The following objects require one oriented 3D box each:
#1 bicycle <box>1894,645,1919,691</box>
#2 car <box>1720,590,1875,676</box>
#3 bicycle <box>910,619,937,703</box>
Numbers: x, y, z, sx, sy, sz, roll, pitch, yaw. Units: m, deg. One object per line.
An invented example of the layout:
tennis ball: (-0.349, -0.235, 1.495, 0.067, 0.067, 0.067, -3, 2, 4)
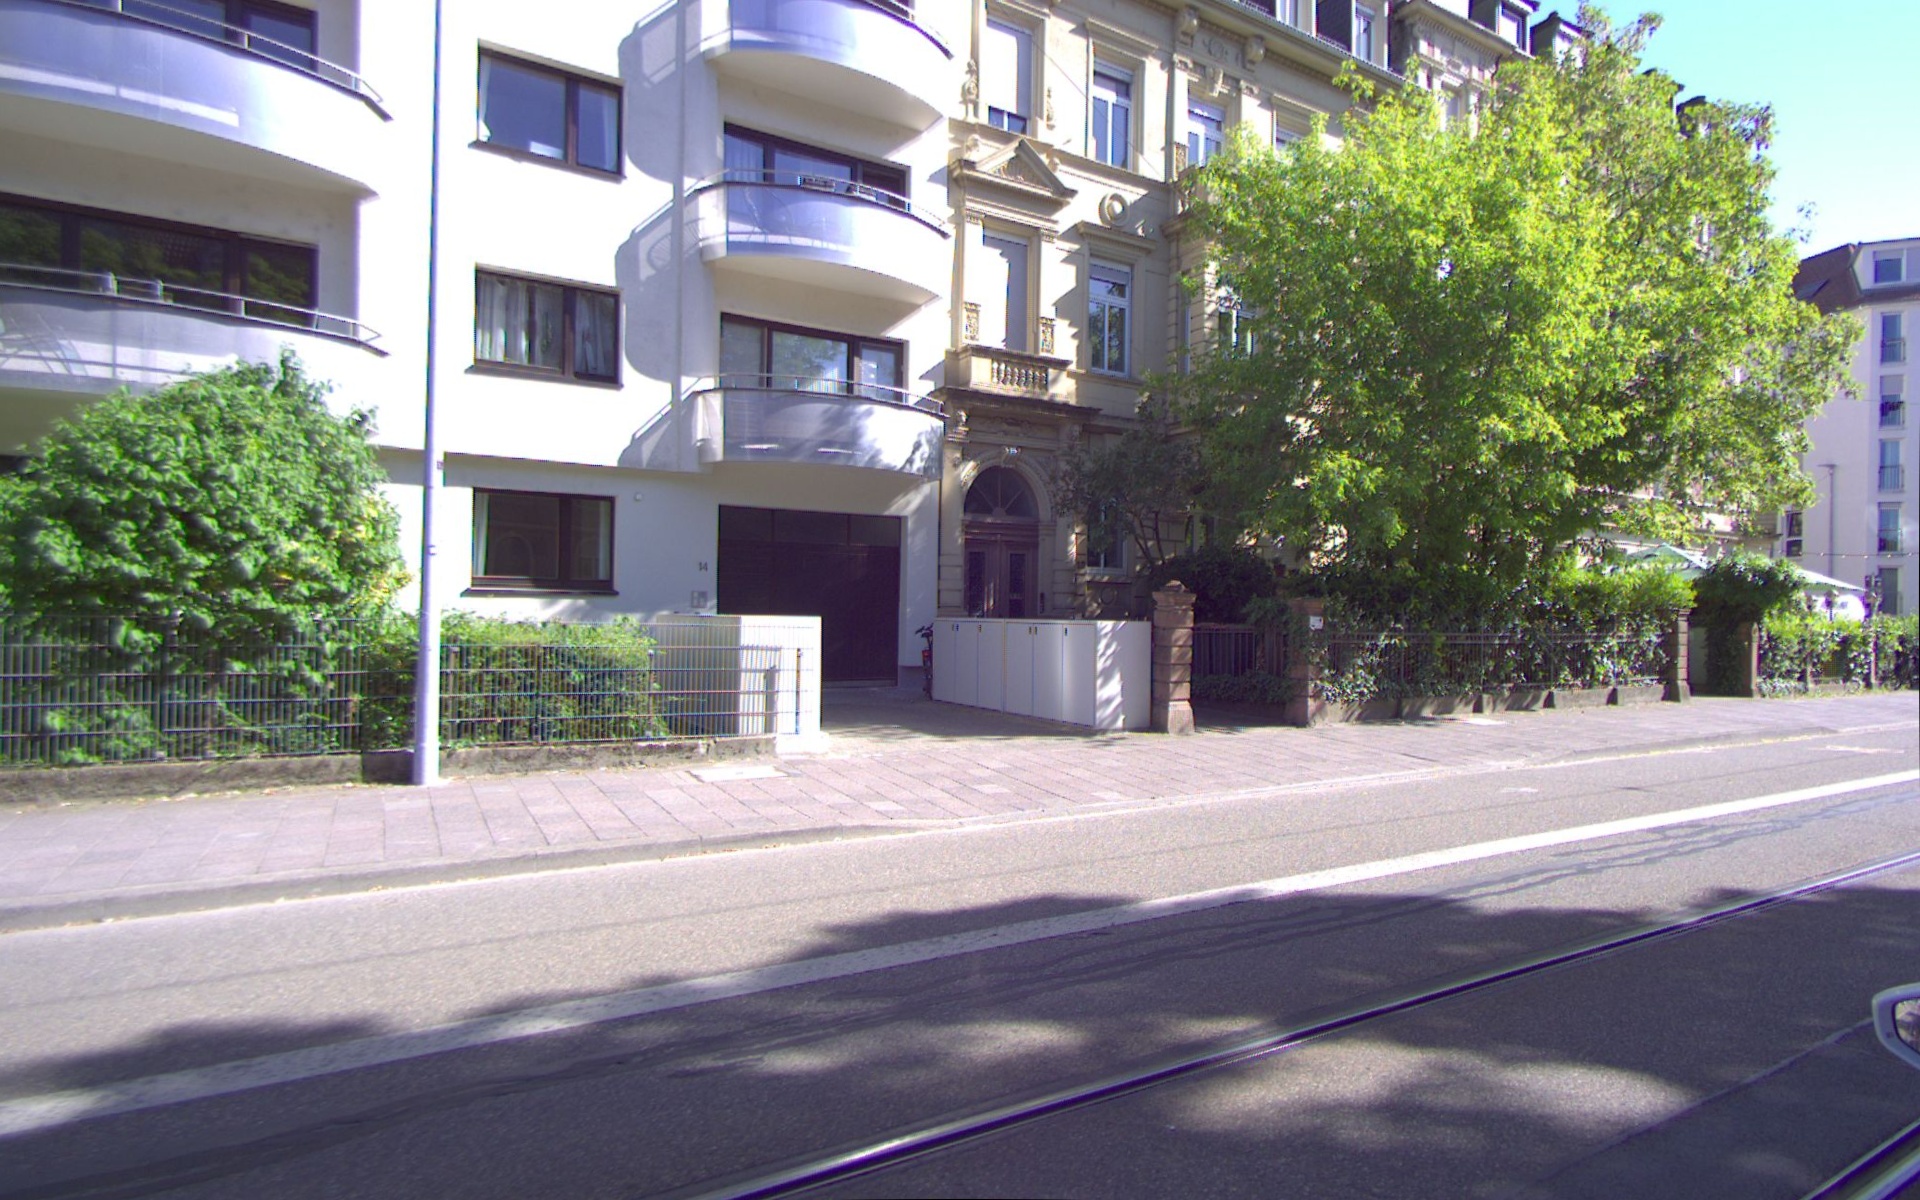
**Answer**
bicycle: (22.901, 1.597, 23.816, 2.197, 1.052, 0.511, 1, -1, -31)
car: (30.305, 1.209, 36.364, 4.702, 2.878, 1.888, 2, -1, -14)
bicycle: (-0.550, 0.909, 15.317, 0.351, 1.218, 1.100, 1, 0, 0)
